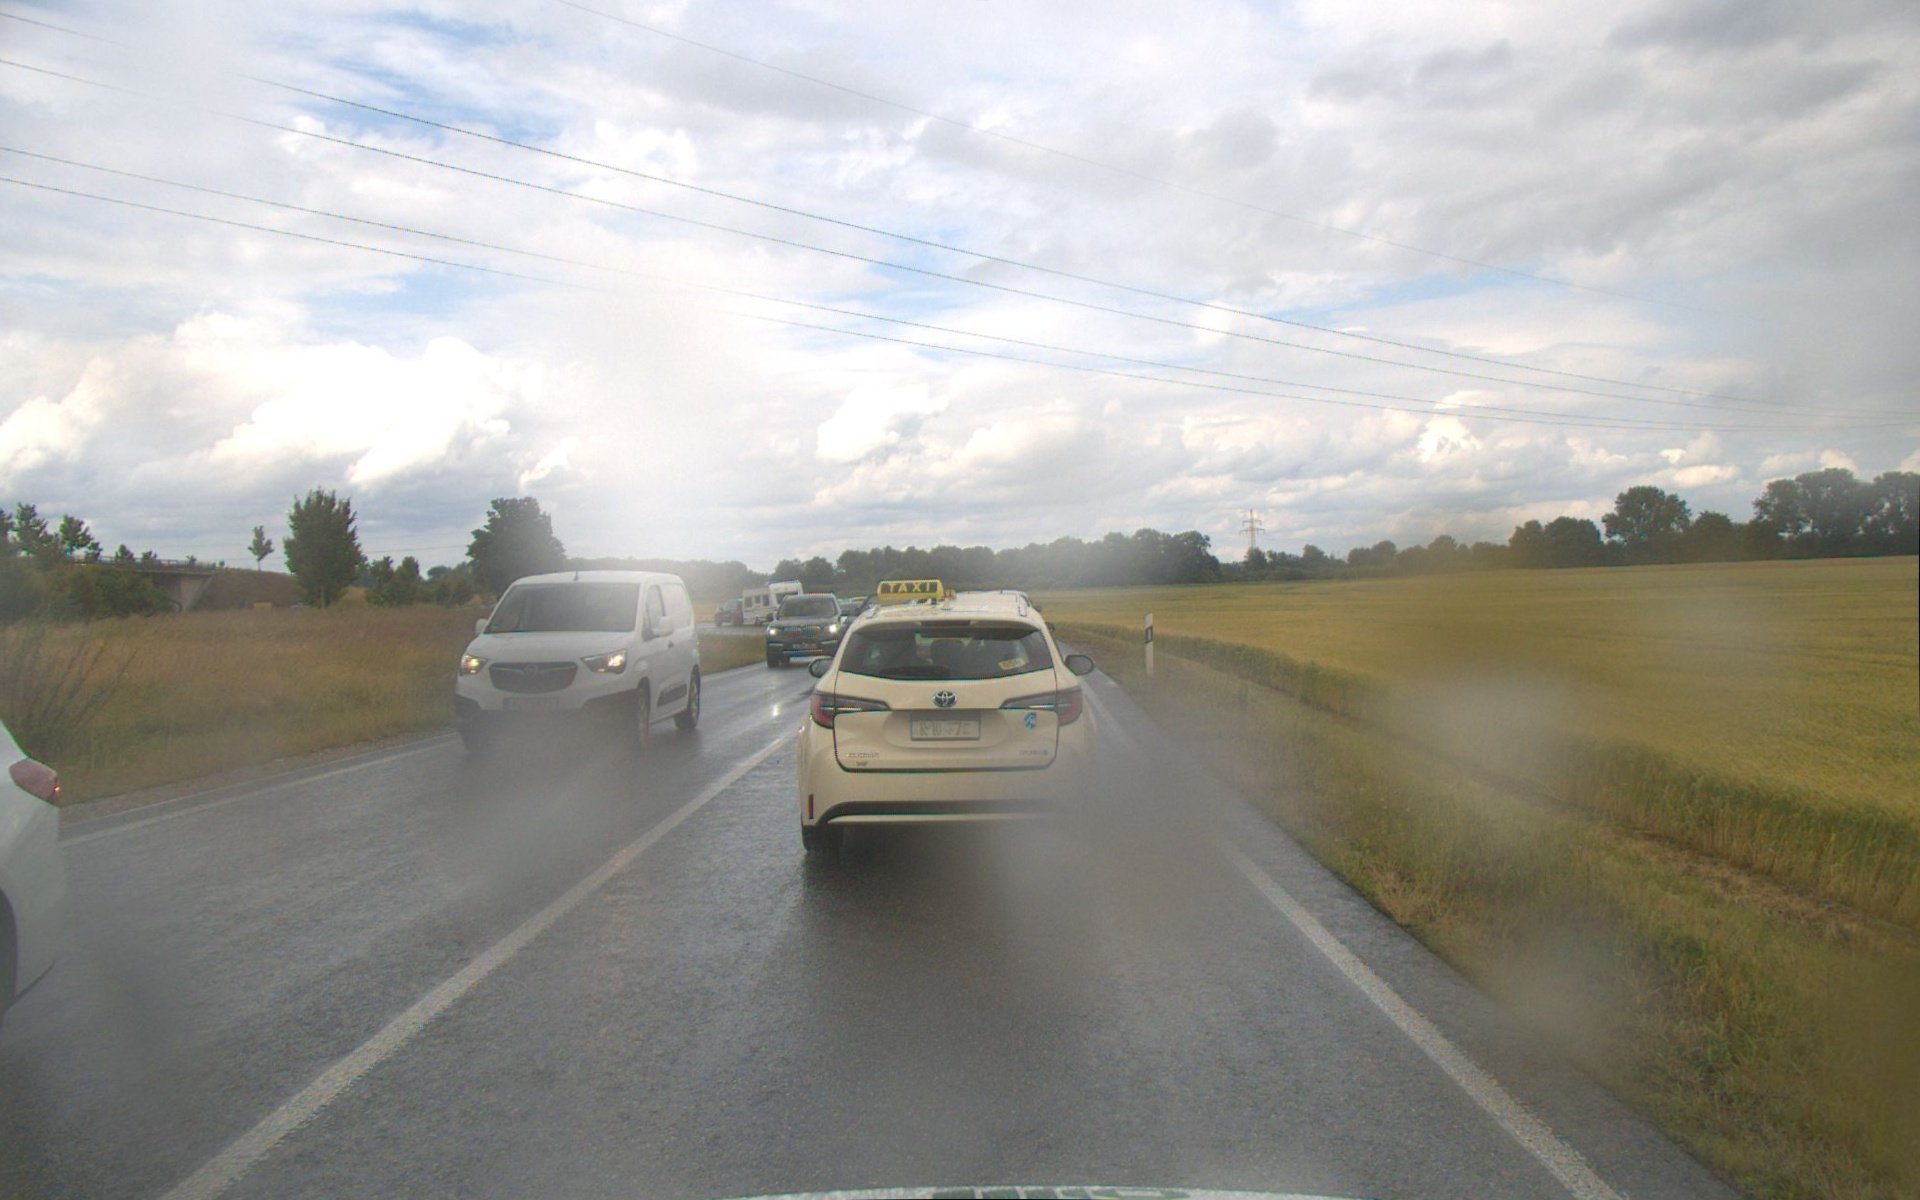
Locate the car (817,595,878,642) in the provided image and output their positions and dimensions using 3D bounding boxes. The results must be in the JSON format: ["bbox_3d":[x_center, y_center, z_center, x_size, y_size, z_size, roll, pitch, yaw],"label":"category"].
[{"bbox_3d":[-3.777,0.598,55.025,1.813,1.473,4.084,-1,0,-7],"label":"car"}]

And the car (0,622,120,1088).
[{"bbox_3d":[-3.778,0.753,3.563,1.807,1.412,4.285,1,-1,-2],"label":"car"}]

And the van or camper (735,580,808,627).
[{"bbox_3d":[-12.385,0.244,108.077,2.507,2.947,6.681,1,0,-28],"label":"van or camper"}]

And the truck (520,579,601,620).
[{"bbox_3d":[-33.322,0.016,137.674,2.998,3.266,8.103,2,-2,-43],"label":"truck"}]

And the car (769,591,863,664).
[{"bbox_3d":[-3.473,0.645,40.656,1.810,1.660,4.535,-1,0,1],"label":"car"}]

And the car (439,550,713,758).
[{"bbox_3d":[-3.880,0.516,17.513,1.806,1.888,4.447,-1,-1,0],"label":"car"}]

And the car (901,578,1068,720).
[{"bbox_3d":[0.251,0.545,20.379,1.803,1.518,4.607,1,0,0],"label":"car"}]

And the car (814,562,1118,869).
[{"bbox_3d":[0.046,0.650,10.578,1.580,1.590,3.738,1,-1,0],"label":"car"}]

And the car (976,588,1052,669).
[{"bbox_3d":[1.162,0.641,36.930,1.579,1.688,3.738,1,-1,1],"label":"car"}]

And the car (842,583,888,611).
[{"bbox_3d":[-5.305,-0.173,92.234,1.755,1.438,3.721,1,-1,-16],"label":"car"}]

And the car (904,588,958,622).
[{"bbox_3d":[-1.360,0.239,75.615,1.923,1.438,4.384,1,-1,-8],"label":"car"}]
